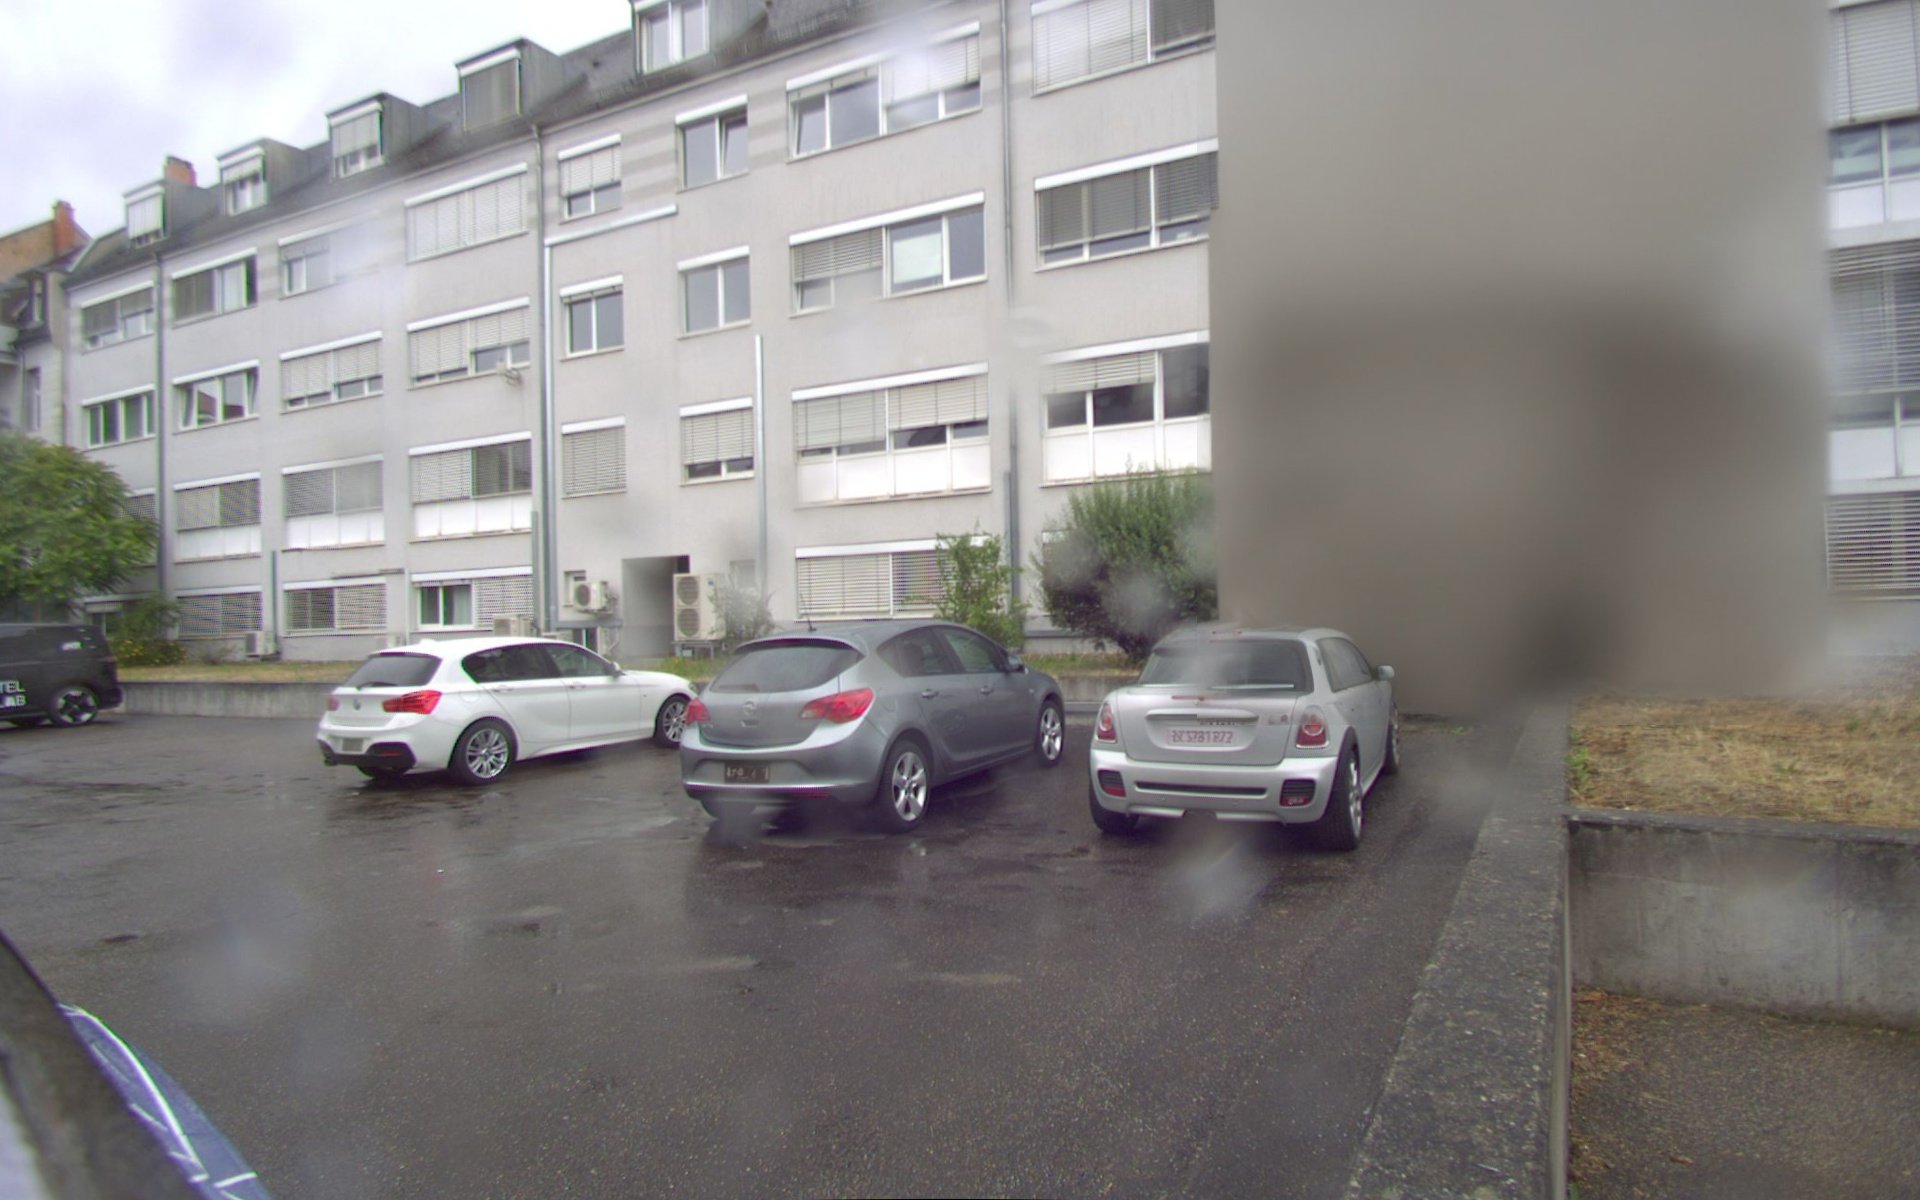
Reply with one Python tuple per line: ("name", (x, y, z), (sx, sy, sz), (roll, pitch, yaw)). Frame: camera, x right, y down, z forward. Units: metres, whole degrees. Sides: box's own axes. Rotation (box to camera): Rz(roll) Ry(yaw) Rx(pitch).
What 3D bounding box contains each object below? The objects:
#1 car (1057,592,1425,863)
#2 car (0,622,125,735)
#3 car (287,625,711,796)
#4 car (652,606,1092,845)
("car", (2.411, 0.724, 7.770), (1.814, 1.343, 4.140), (-3, 1, 28))
("car", (-17.316, 1.403, 17.057), (1.976, 1.850, 4.593), (-4, -1, 24))
("car", (-4.826, 1.052, 11.243), (1.744, 1.444, 4.115), (-2, -1, 27))
("car", (-0.447, 0.841, 8.650), (1.813, 1.495, 4.141), (-3, -2, 27))
